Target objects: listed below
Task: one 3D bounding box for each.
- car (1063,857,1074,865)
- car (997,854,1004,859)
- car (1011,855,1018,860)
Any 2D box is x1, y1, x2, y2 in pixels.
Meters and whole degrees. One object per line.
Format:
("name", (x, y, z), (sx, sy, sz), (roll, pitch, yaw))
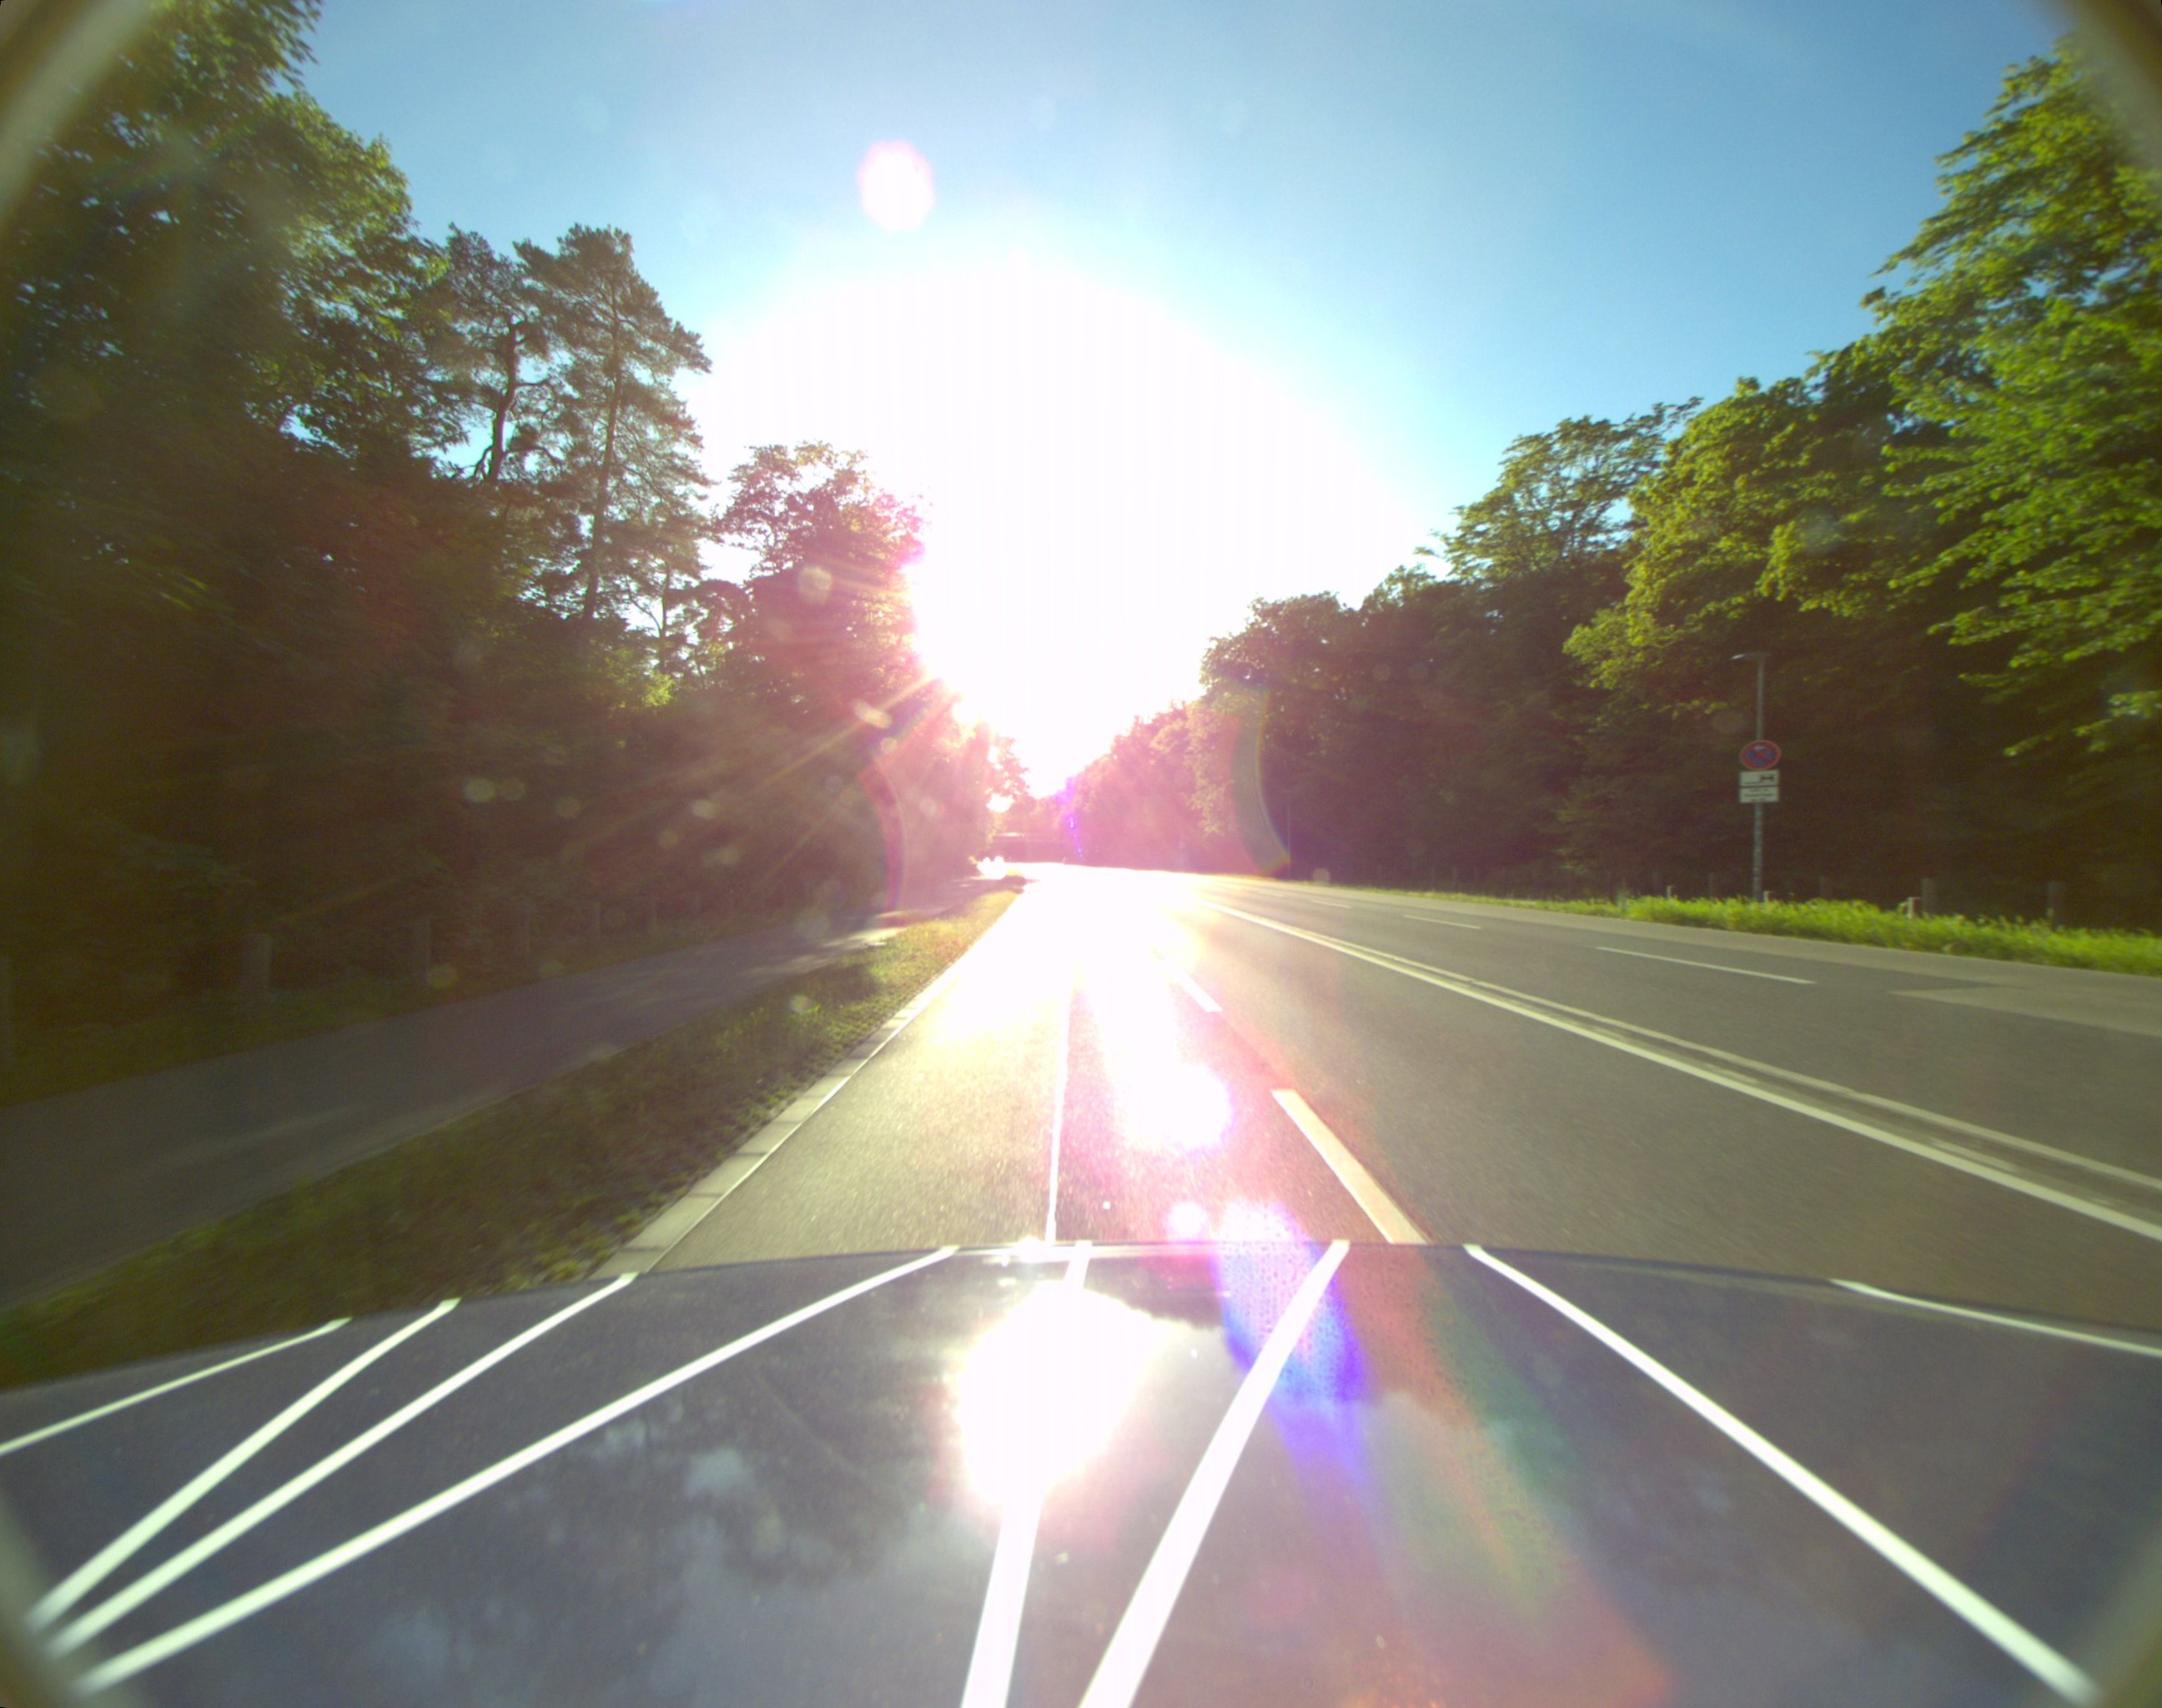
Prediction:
("car", (-2.416, 1.245, 144.305), (1.592, 1.429, 4.307), (-3, 0, -5))
("car", (-24.556, 0.799, 231.567), (1.828, 1.674, 3.995), (-1, 0, -13))
("car", (-21.711, 1.134, 246.979), (2.007, 1.815, 4.995), (-3, 0, -9))
